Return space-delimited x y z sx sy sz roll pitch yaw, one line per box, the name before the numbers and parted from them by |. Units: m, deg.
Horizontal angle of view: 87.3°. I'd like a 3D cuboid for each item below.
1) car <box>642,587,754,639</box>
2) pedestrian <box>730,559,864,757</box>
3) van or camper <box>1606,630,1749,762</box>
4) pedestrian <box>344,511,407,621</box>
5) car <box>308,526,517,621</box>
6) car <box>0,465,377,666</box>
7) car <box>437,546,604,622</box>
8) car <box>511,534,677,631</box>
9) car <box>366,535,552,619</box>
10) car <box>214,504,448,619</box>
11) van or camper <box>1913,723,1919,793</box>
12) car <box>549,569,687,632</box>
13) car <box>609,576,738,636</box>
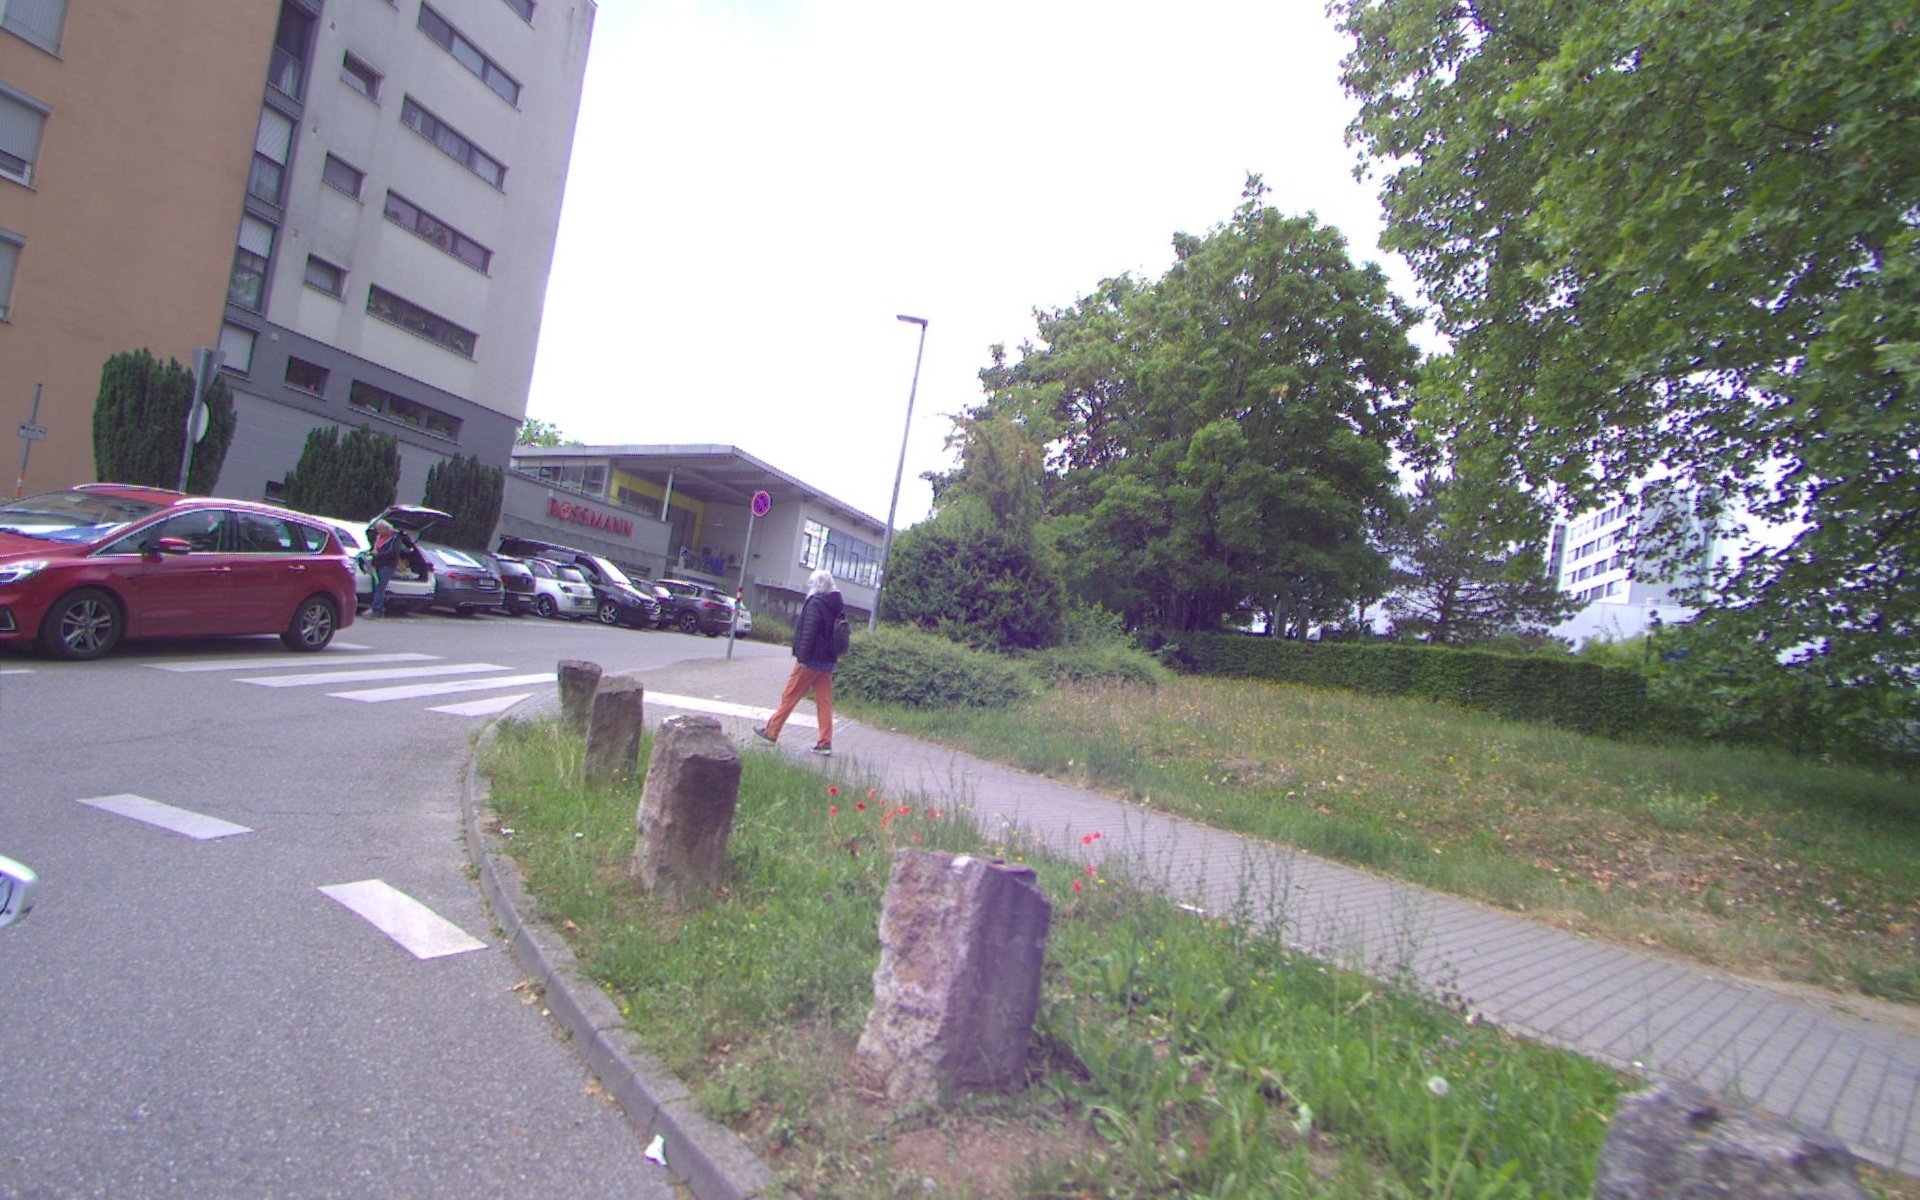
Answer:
car | -10.035 0.507 38.655 3.705 1.500 1.642 7 0 15
pedestrian | -1.497 0.532 9.320 0.825 1.684 0.615 7 -2 19
van or camper | 18.305 2.494 25.577 2.088 2.829 4.459 5 -4 44
pedestrian | -10.332 -0.592 17.788 0.475 1.832 0.584 7 -2 17
car | -11.666 -0.552 21.493 3.705 1.500 1.642 7 0 15
car | -8.676 -0.358 10.574 1.943 1.665 4.538 7 0 6
car | -11.559 -0.411 26.536 3.705 1.500 1.642 7 0 15
car | -10.485 -0.494 28.926 3.901 2.185 1.833 7 -2 15
car | -11.955 -0.528 24.074 3.705 1.500 1.642 7 0 15
car | -12.019 -0.721 19.270 3.705 1.679 1.574 7 0 15
van or camper | 19.897 2.474 19.314 2.088 2.829 4.459 5 -4 44
car | -10.754 0.018 31.692 3.705 1.500 1.642 7 0 15
car | -9.542 0.197 33.547 3.705 1.500 1.642 7 0 15
